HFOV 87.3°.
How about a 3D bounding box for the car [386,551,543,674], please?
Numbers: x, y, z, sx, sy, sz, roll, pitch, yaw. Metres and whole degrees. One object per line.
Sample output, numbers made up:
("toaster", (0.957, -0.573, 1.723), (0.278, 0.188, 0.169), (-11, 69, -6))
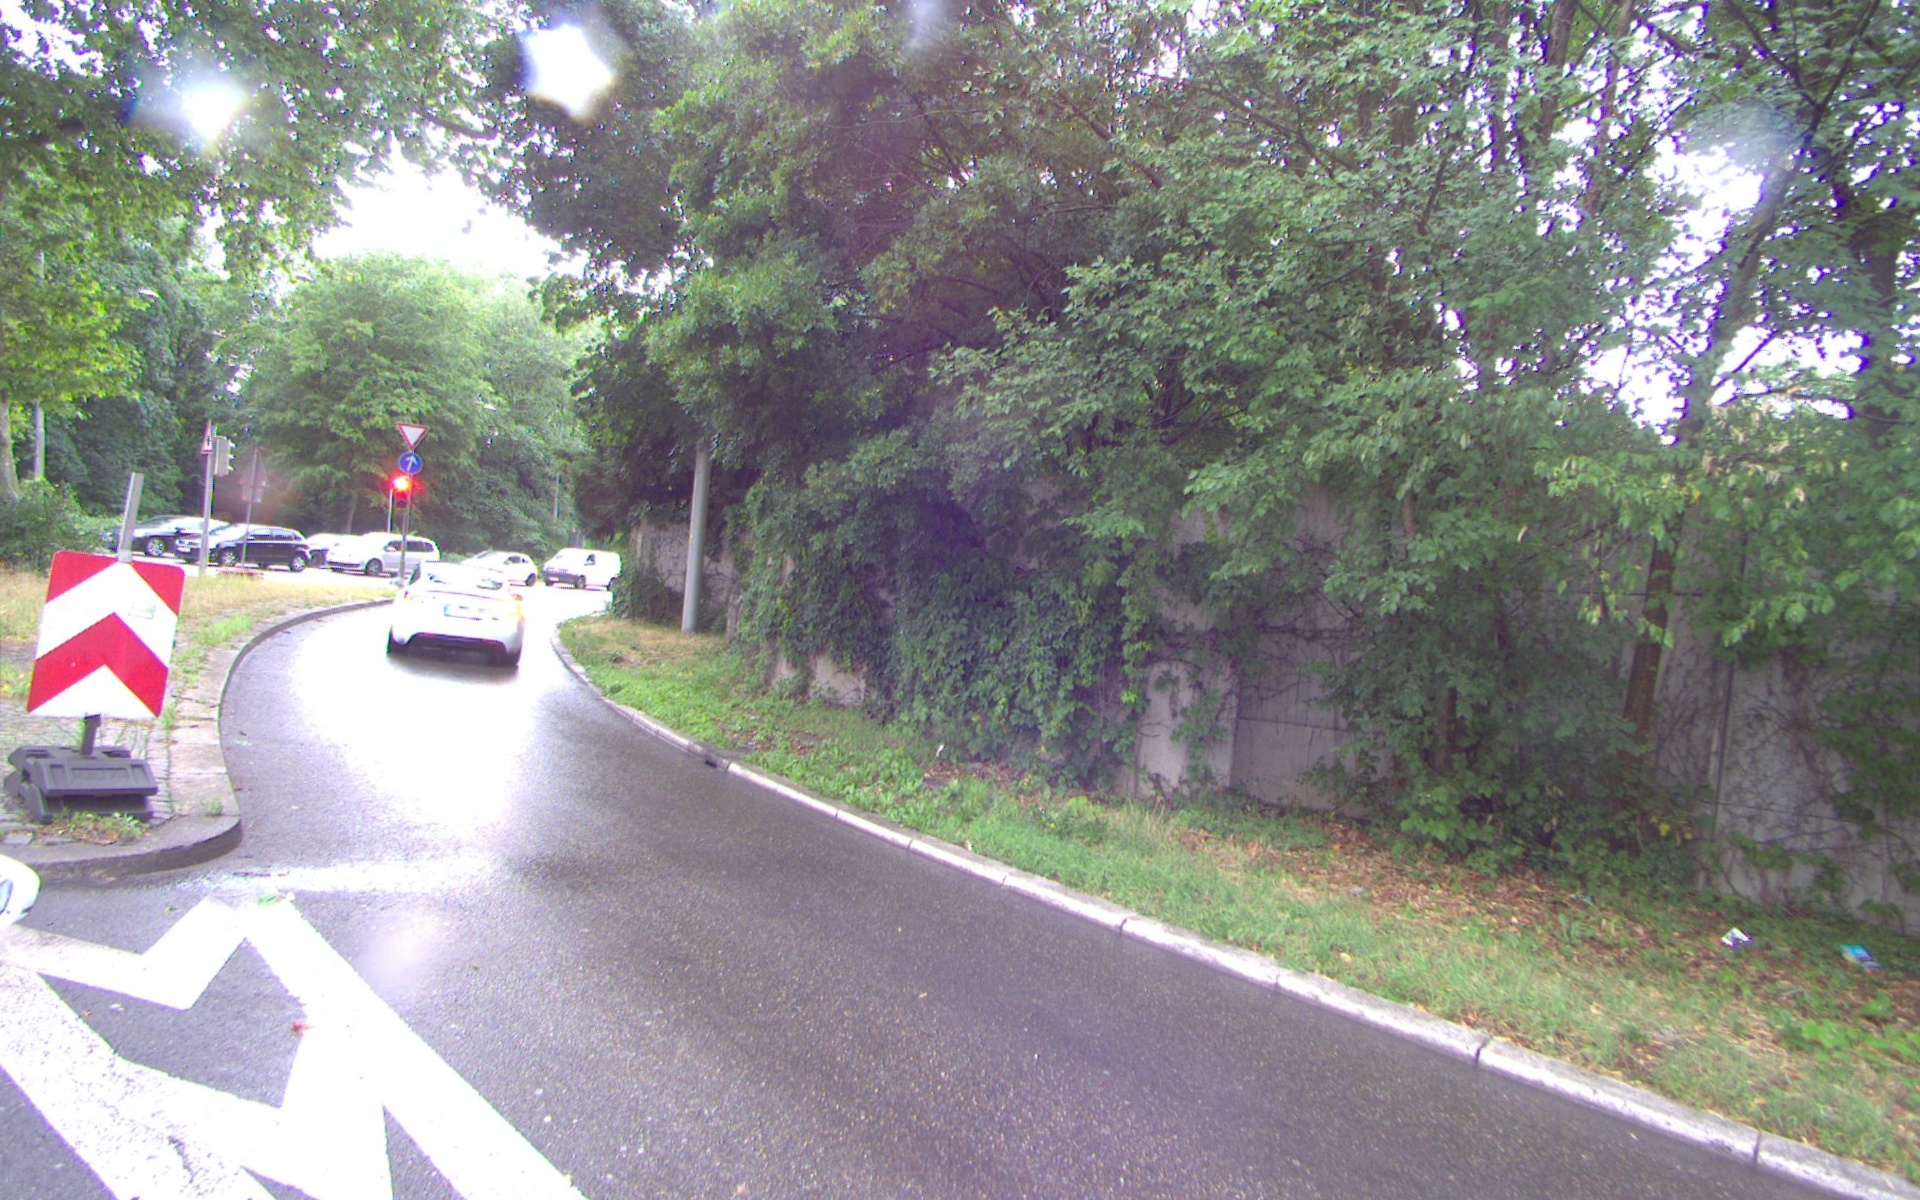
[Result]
("car", (-8.279, 0.108, 16.572), (1.841, 1.464, 4.582), (11, -3, -30))

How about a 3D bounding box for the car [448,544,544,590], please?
("car", (-20.537, -1.420, 44.687), (1.627, 1.478, 3.869), (7, -2, 16))

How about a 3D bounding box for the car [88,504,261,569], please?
("car", (-26.658, -2.108, 34.315), (1.913, 1.457, 4.218), (7, -2, 16))

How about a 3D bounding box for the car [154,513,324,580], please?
("car", (-23.311, -1.680, 32.729), (1.759, 1.477, 4.205), (7, -2, 16))

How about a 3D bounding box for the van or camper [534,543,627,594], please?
("van or camper", (-19.081, -1.546, 50.858), (1.870, 1.970, 4.870), (7, -1, 12))

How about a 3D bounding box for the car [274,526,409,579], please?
("car", (-24.744, -1.861, 40.451), (1.795, 1.418, 4.452), (7, -2, 16))

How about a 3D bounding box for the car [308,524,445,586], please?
("car", (-22.086, -1.651, 38.290), (1.871, 1.699, 4.216), (7, -2, 16))
